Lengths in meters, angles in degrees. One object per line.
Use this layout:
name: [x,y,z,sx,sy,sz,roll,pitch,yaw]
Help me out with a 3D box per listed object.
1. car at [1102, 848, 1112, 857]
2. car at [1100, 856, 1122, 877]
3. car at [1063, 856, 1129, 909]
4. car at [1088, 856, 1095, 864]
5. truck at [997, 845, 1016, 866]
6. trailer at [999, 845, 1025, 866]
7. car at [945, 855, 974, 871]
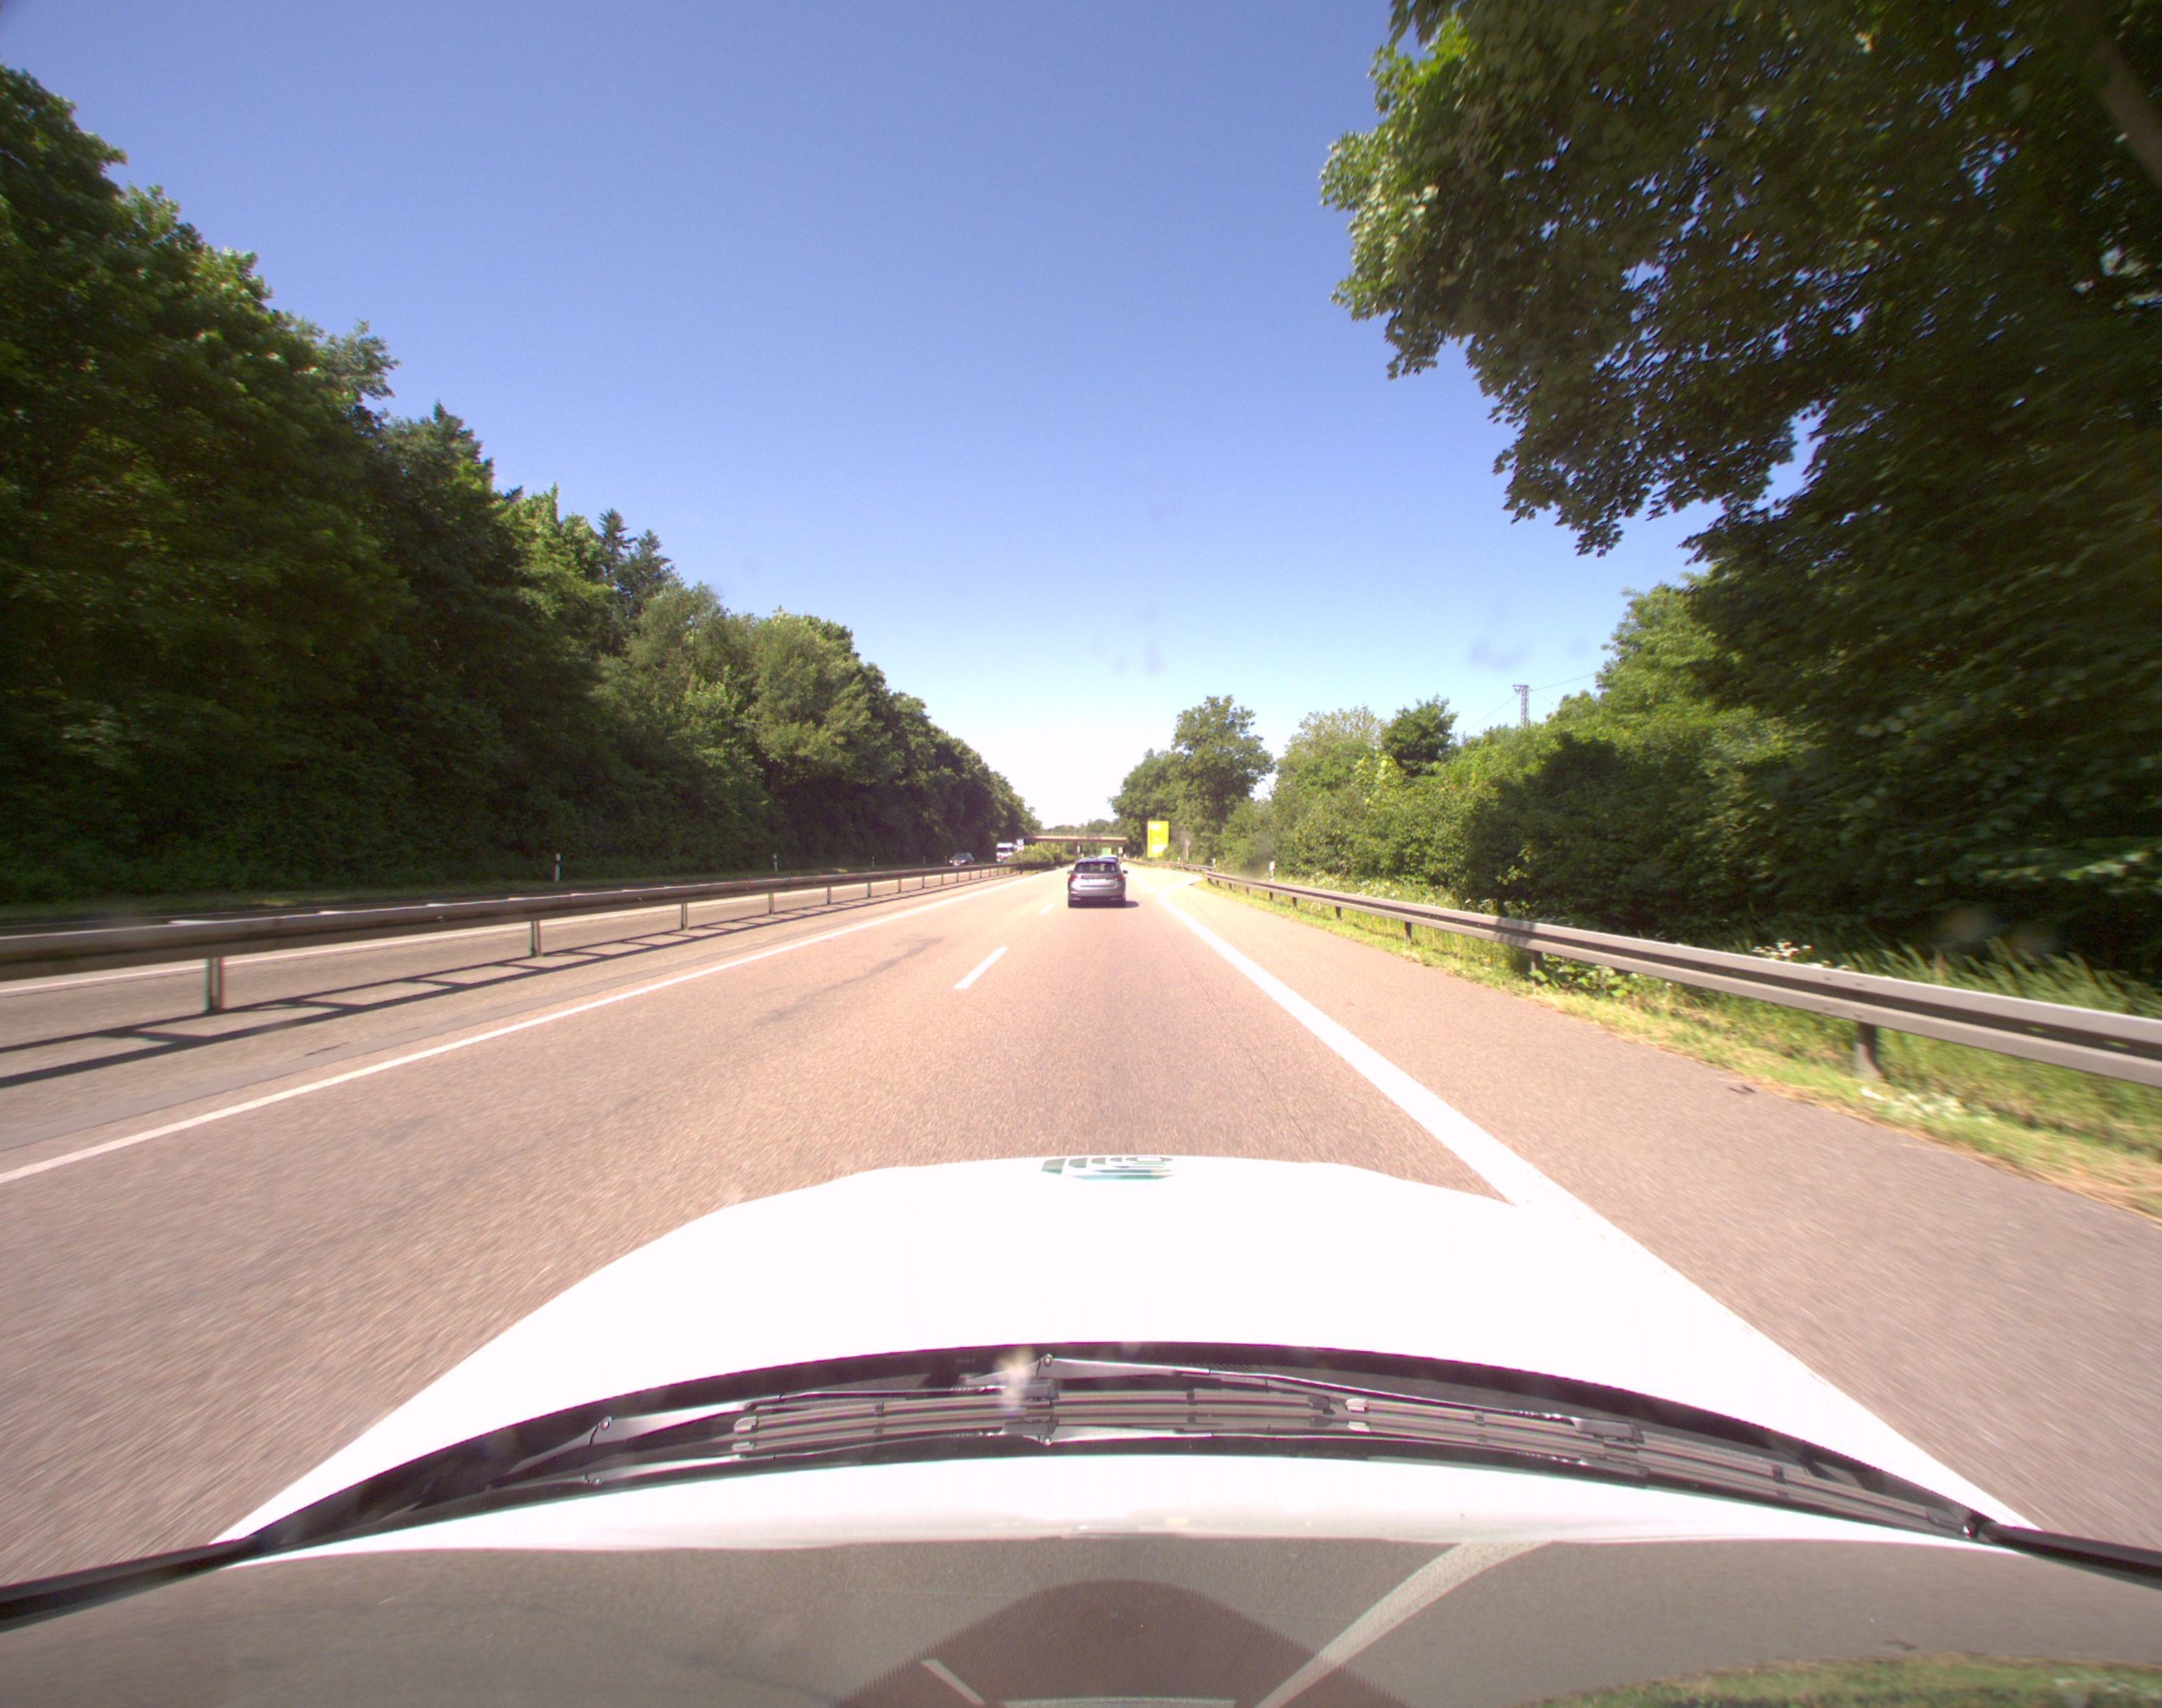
car: [7.731,-0.343,241.554,2.738,2.654,4.002,0,-1,2]
car: [2.163,0.870,57.773,1.516,1.446,3.343,0,0,3]
car: [0.532,0.792,24.644,1.832,1.472,3.627,0,0,3]
car: [3.051,1.691,231.300,1.986,2.014,4.002,0,0,2]
truck: [-11.644,0.230,127.005,2.416,3.258,4.002,0,-1,2]
trailer: [-11.270,0.312,134.440,2.483,3.235,14.438,0,0,2]
car: [-11.806,0.822,79.362,1.834,1.510,4.556,0,0,4]
